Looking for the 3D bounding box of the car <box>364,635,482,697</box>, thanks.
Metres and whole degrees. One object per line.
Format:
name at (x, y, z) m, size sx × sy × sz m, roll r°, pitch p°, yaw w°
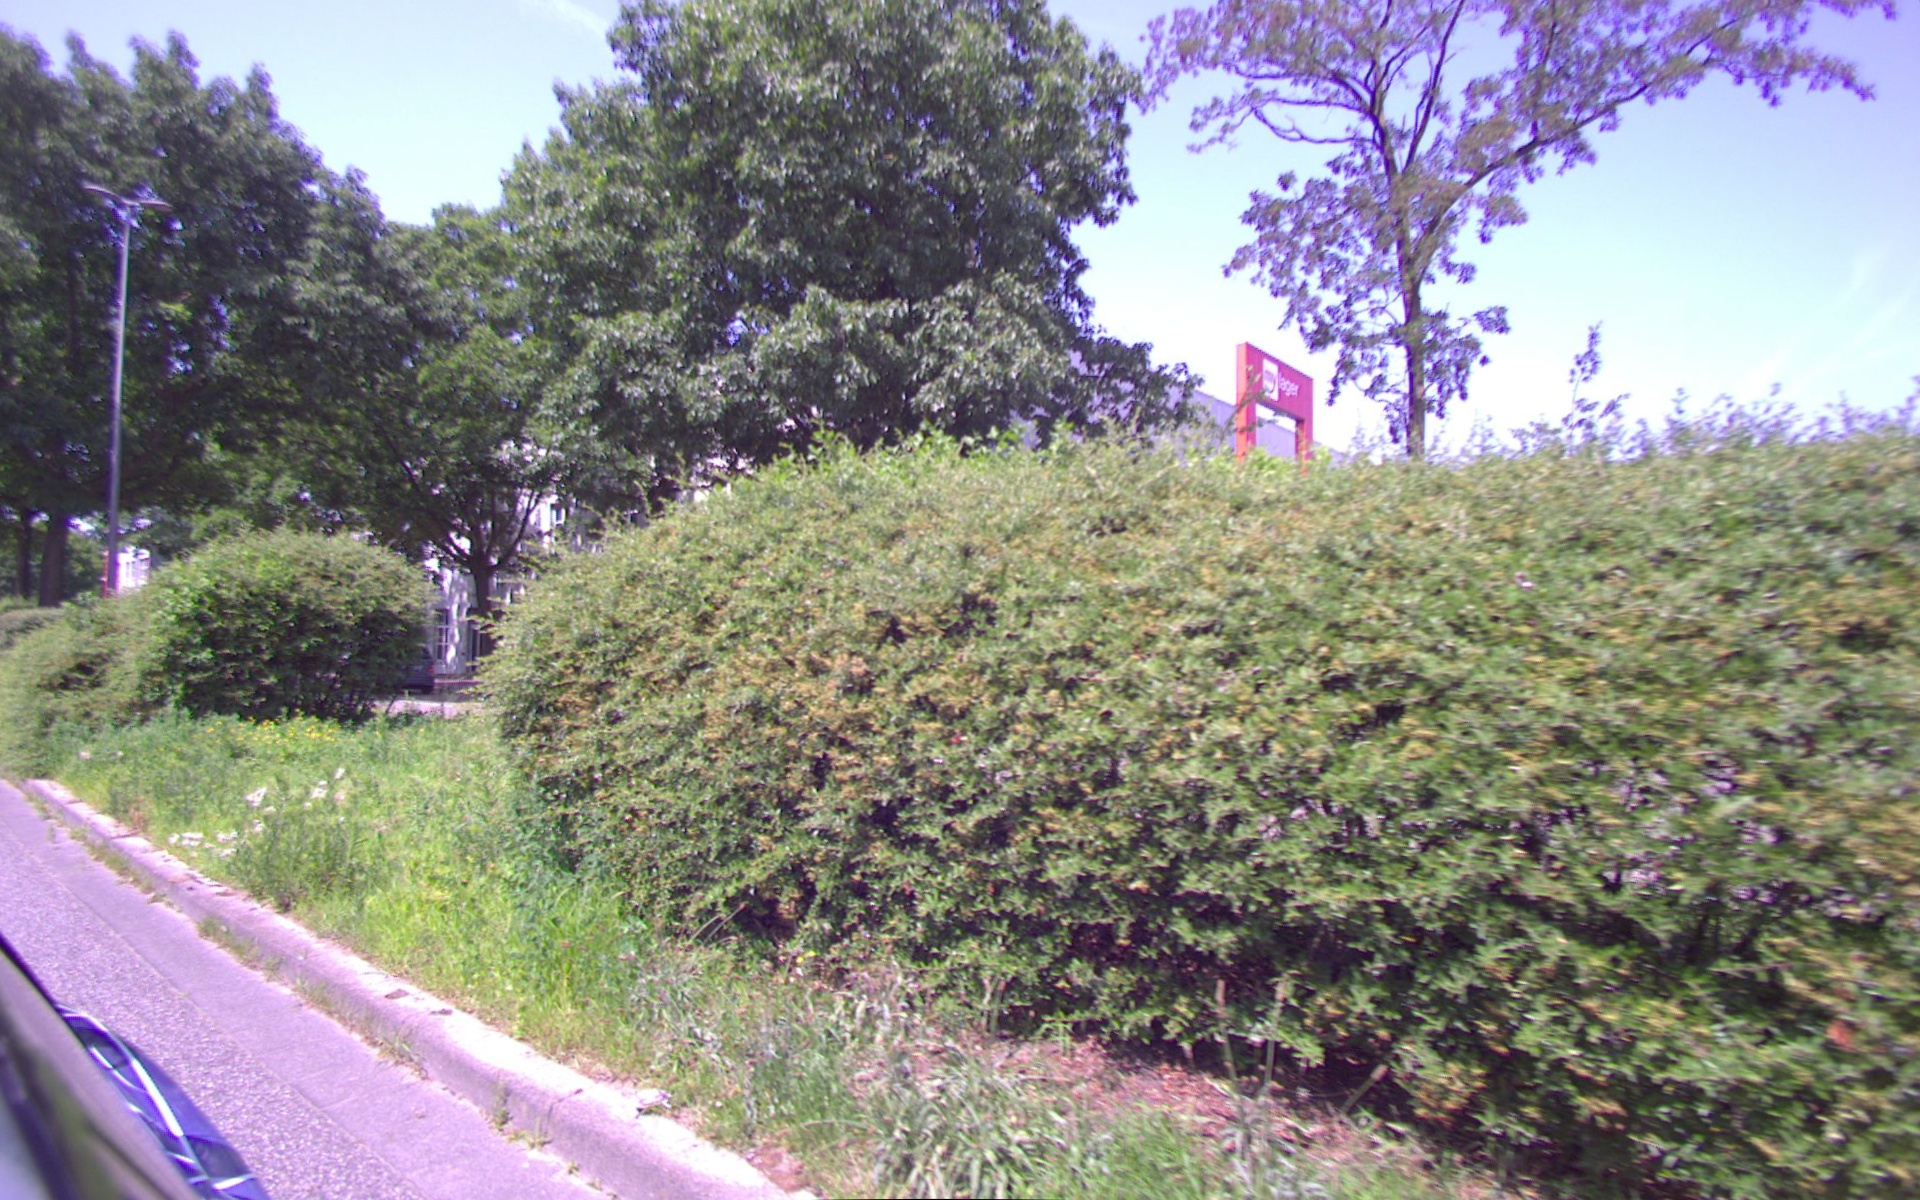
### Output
car at (-16.179, 1.913, 30.422) m, size 3.997 × 1.680 × 1.761 m, roll -1°, pitch -2°, yaw 40°
